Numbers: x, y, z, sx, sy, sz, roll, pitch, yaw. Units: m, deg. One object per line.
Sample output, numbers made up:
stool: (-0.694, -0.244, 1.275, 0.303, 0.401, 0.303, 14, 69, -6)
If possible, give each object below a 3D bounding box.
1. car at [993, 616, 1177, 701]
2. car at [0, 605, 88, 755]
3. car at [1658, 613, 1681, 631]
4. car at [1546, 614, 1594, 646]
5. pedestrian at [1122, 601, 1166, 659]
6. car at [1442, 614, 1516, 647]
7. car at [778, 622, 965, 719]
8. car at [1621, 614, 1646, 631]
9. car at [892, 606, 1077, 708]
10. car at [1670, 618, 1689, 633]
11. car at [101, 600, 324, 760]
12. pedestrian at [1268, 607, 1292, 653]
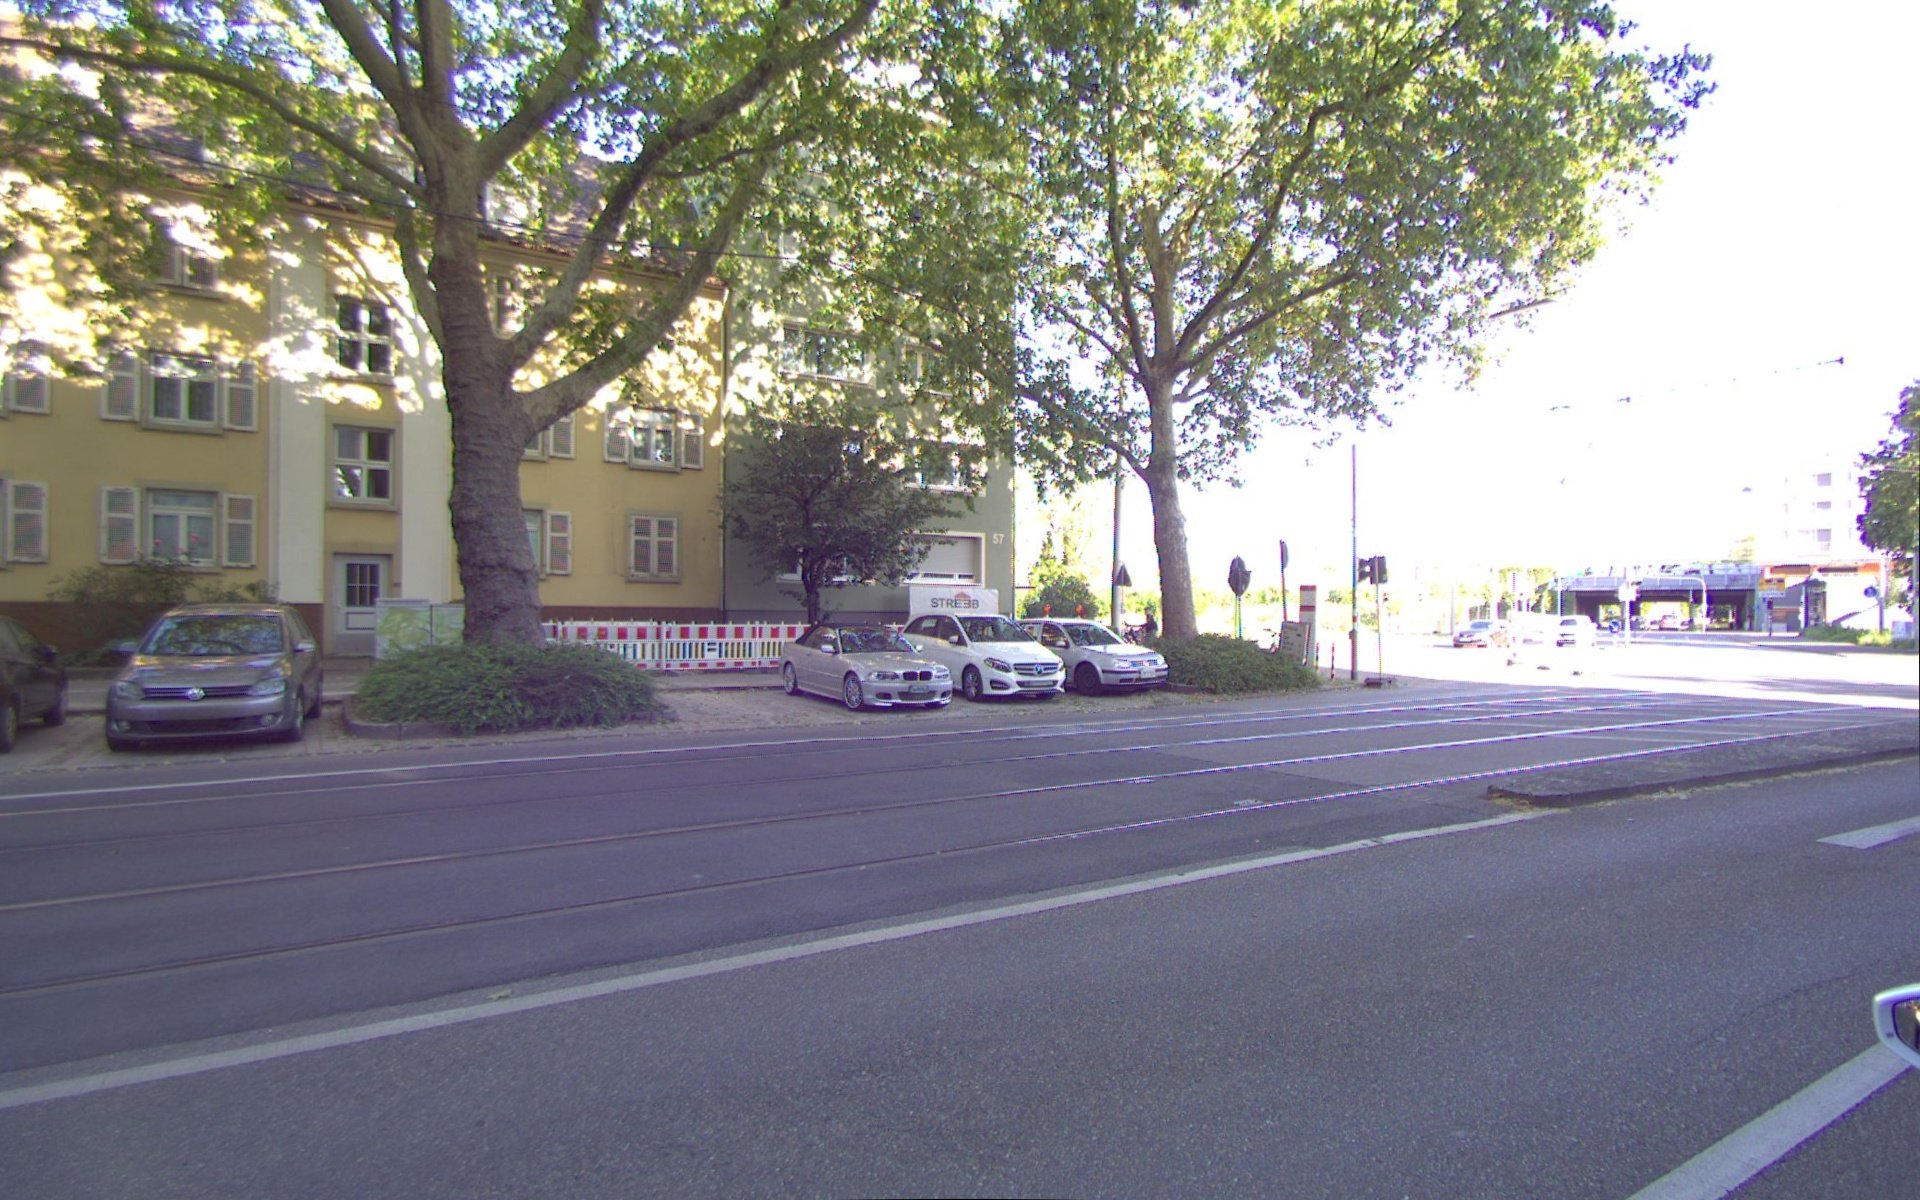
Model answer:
car: (2.442, 1.112, 20.526, 1.651, 1.473, 3.949, 1, 0, -31)
car: (-11.464, 0.834, 11.382, 1.652, 1.518, 3.778, 1, 0, -29)
car: (75.112, 2.343, 106.276, 1.884, 1.906, 4.828, 0, -1, 36)
car: (33.552, 1.632, 55.210, 1.860, 1.606, 3.823, 2, 0, 37)
pedestrian: (5.454, 0.885, 29.777, 0.919, 1.669, 0.841, 2, 0, -30)
car: (27.034, 1.568, 52.258, 4.317, 1.684, 1.784, 1, -1, -38)
car: (-1.648, 1.110, 17.307, 1.651, 1.370, 3.949, 1, 0, -31)
car: (68.590, 2.316, 102.250, 1.860, 1.606, 3.823, 2, 0, 37)
car: (0.352, 0.985, 19.152, 1.651, 1.669, 3.949, 1, 0, -31)
car: (83.546, 2.983, 116.718, 1.731, 1.706, 3.729, 2, 0, 36)
car: (-8.998, 0.834, 12.413, 1.652, 1.602, 3.953, 1, 0, -29)
pedestrian: (12.204, 1.130, 38.334, 0.759, 1.683, 0.955, 2, 0, 23)
